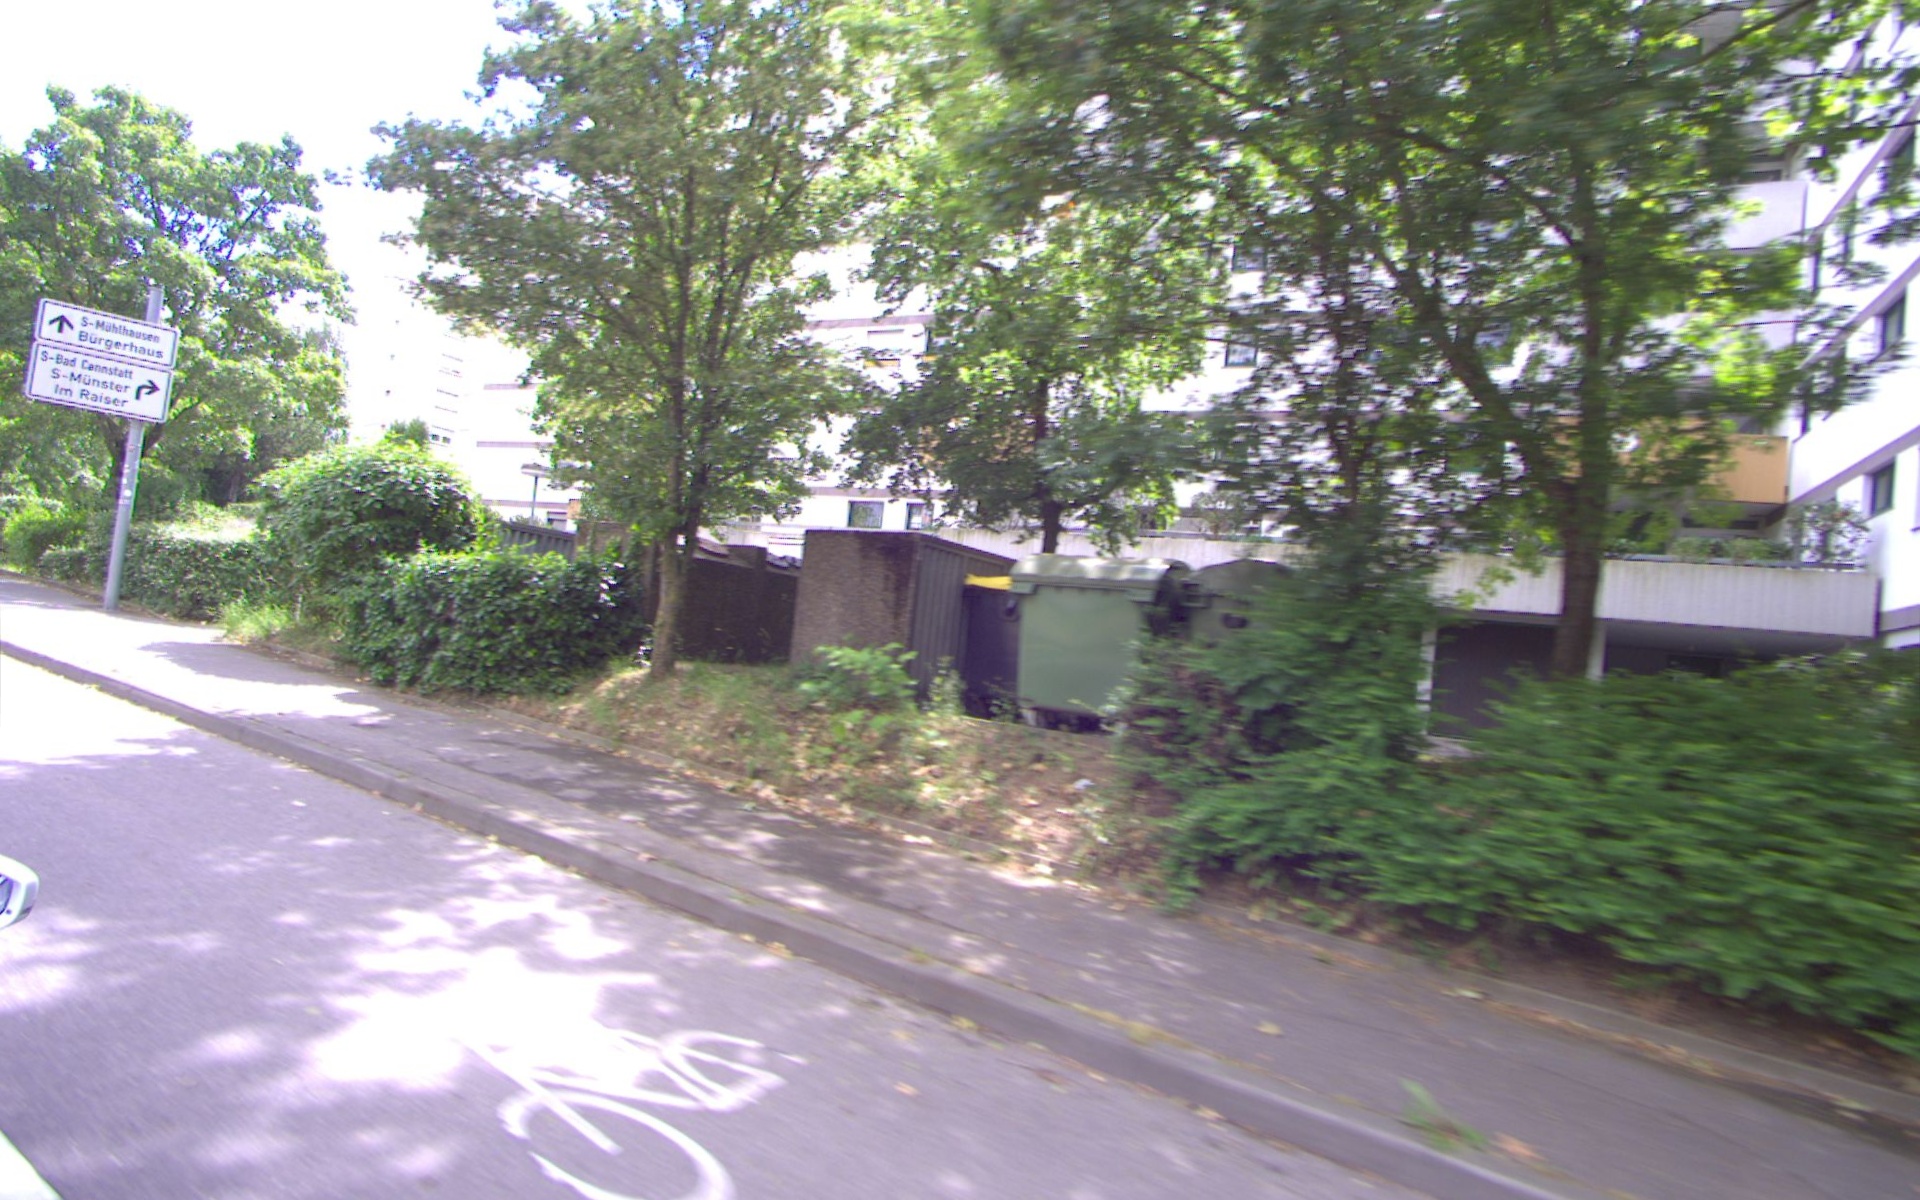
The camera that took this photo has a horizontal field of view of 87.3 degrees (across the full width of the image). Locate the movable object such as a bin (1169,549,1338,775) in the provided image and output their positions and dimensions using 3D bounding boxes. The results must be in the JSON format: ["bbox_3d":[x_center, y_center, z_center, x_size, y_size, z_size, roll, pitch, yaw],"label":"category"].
[{"bbox_3d":[2.153,0.444,7.360,0.859,1.495,0.665,7,-1,34],"label":"movable object such as a bin"}]

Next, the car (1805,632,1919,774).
[{"bbox_3d":[11.831,1.337,11.101,3.490,1.477,1.660,7,-1,32],"label":"car"}]

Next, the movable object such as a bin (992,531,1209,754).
[{"bbox_3d":[1.083,0.315,7.764,1.281,1.495,0.799,7,-1,31],"label":"movable object such as a bin"}]
